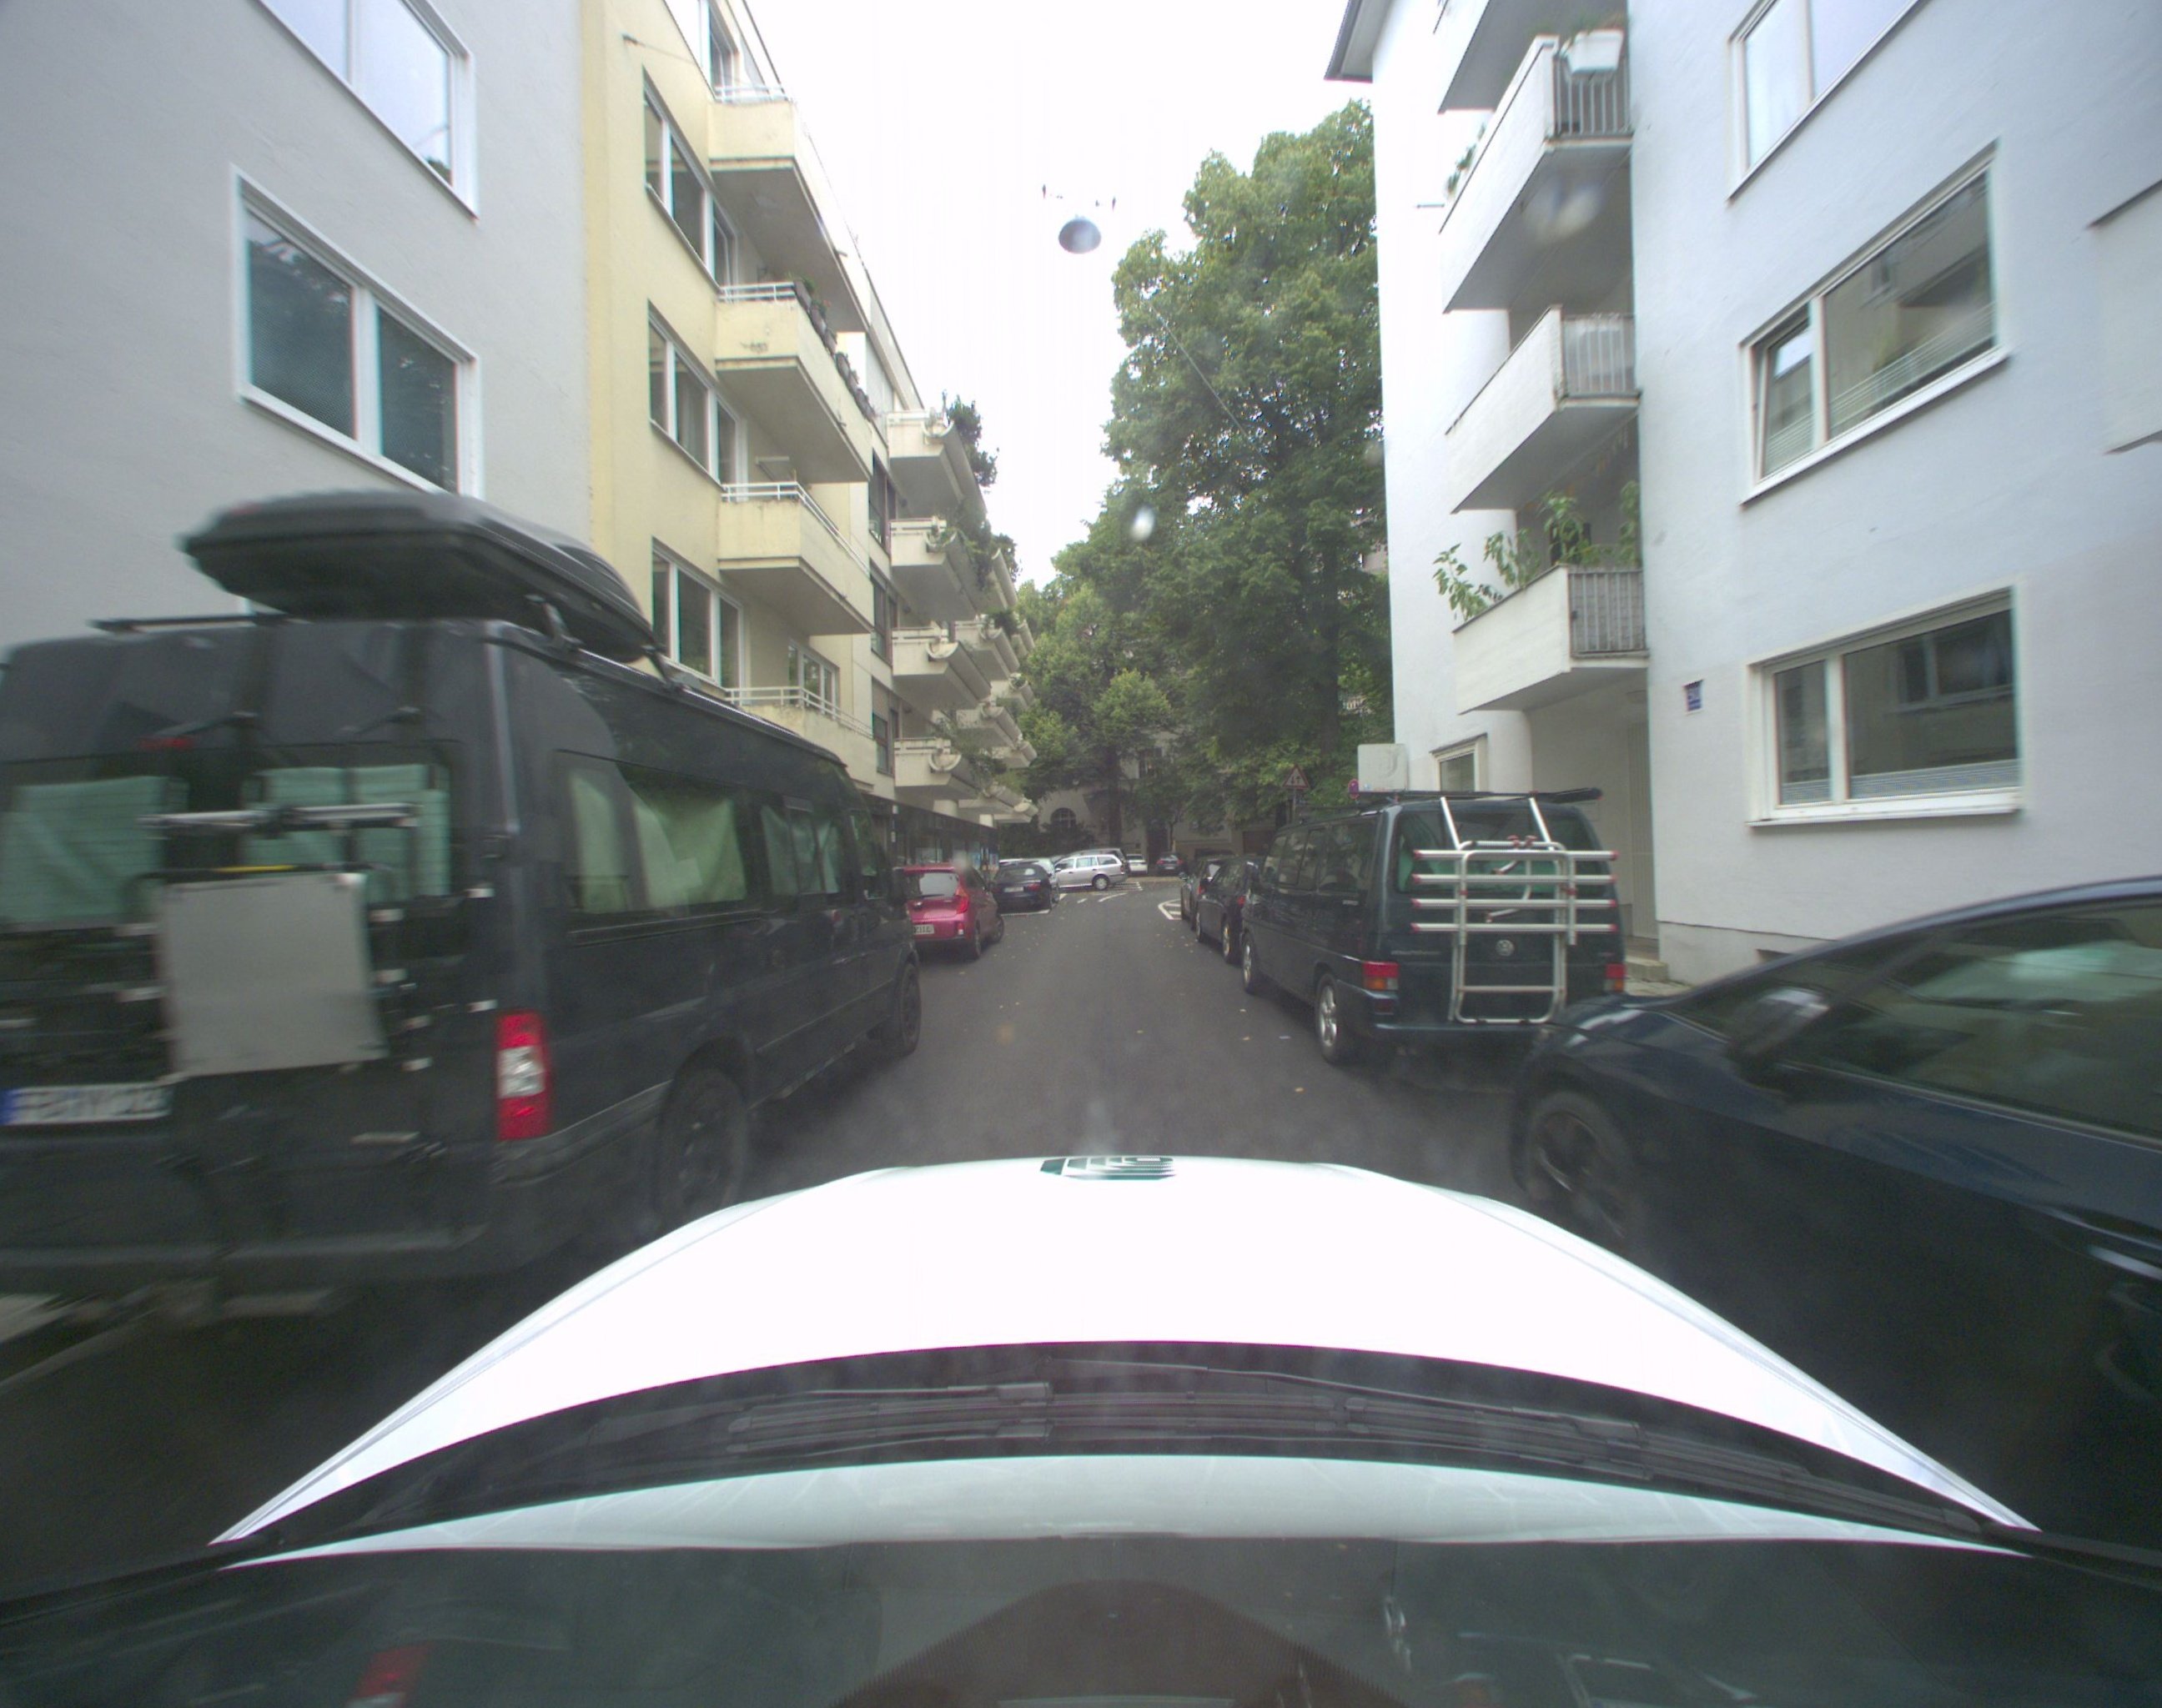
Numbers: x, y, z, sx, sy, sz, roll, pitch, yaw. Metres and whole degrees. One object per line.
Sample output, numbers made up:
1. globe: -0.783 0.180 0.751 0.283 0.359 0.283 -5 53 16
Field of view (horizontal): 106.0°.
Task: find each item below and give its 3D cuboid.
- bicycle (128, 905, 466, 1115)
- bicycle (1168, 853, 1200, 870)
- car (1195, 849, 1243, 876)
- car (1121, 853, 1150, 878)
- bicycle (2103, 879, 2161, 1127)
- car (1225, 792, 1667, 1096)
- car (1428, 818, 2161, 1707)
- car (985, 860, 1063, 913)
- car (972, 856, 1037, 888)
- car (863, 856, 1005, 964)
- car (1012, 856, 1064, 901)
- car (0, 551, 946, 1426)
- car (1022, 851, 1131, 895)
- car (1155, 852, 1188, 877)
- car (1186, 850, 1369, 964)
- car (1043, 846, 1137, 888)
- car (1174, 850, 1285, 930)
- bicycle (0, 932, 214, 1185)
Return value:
1. bicycle: -5.243 0.963 5.644 0.461 1.098 1.871 -1 0 3
2. bicycle: 7.296 0.533 57.659 2.207 1.115 0.580 -1 0 30
3. car: 8.251 0.496 48.357 1.822 1.530 4.047 -1 0 24
4. car: 3.356 0.682 50.093 1.711 1.431 4.004 -1 0 4
5. bicycle: 5.331 0.700 3.304 0.569 1.151 1.431 -1 0 1
6. car: 2.633 0.568 7.331 1.868 1.791 4.782 -1 -1 1
7. car: 2.576 0.701 1.537 1.899 1.554 4.625 -1 -1 1
8. car: -1.557 0.878 23.796 1.790 1.278 4.618 -3 0 1
9. car: -4.192 0.981 44.724 3.297 1.631 1.501 -1 0 -18
10. car: -2.289 0.807 13.543 1.614 1.496 3.709 -2 0 0
11. car: -1.473 0.832 29.352 1.555 1.421 3.833 -3 0 0
12. car: -2.405 0.398 4.894 2.011 2.279 5.392 -3 -1 2
13. car: -0.166 0.740 32.902 4.213 1.455 1.721 -4 0 0
14. car: 5.461 0.614 48.877 1.781 1.431 4.009 -1 0 8
15. car: 2.798 0.695 12.549 1.827 1.419 4.058 -2 0 0
16. car: 0.402 0.587 38.148 4.207 1.684 1.902 -4 0 -1
17. car: 3.001 0.678 17.206 1.736 1.441 4.002 -2 0 2
18. bicycle: -5.280 0.999 3.770 0.461 1.098 1.871 -1 0 3
